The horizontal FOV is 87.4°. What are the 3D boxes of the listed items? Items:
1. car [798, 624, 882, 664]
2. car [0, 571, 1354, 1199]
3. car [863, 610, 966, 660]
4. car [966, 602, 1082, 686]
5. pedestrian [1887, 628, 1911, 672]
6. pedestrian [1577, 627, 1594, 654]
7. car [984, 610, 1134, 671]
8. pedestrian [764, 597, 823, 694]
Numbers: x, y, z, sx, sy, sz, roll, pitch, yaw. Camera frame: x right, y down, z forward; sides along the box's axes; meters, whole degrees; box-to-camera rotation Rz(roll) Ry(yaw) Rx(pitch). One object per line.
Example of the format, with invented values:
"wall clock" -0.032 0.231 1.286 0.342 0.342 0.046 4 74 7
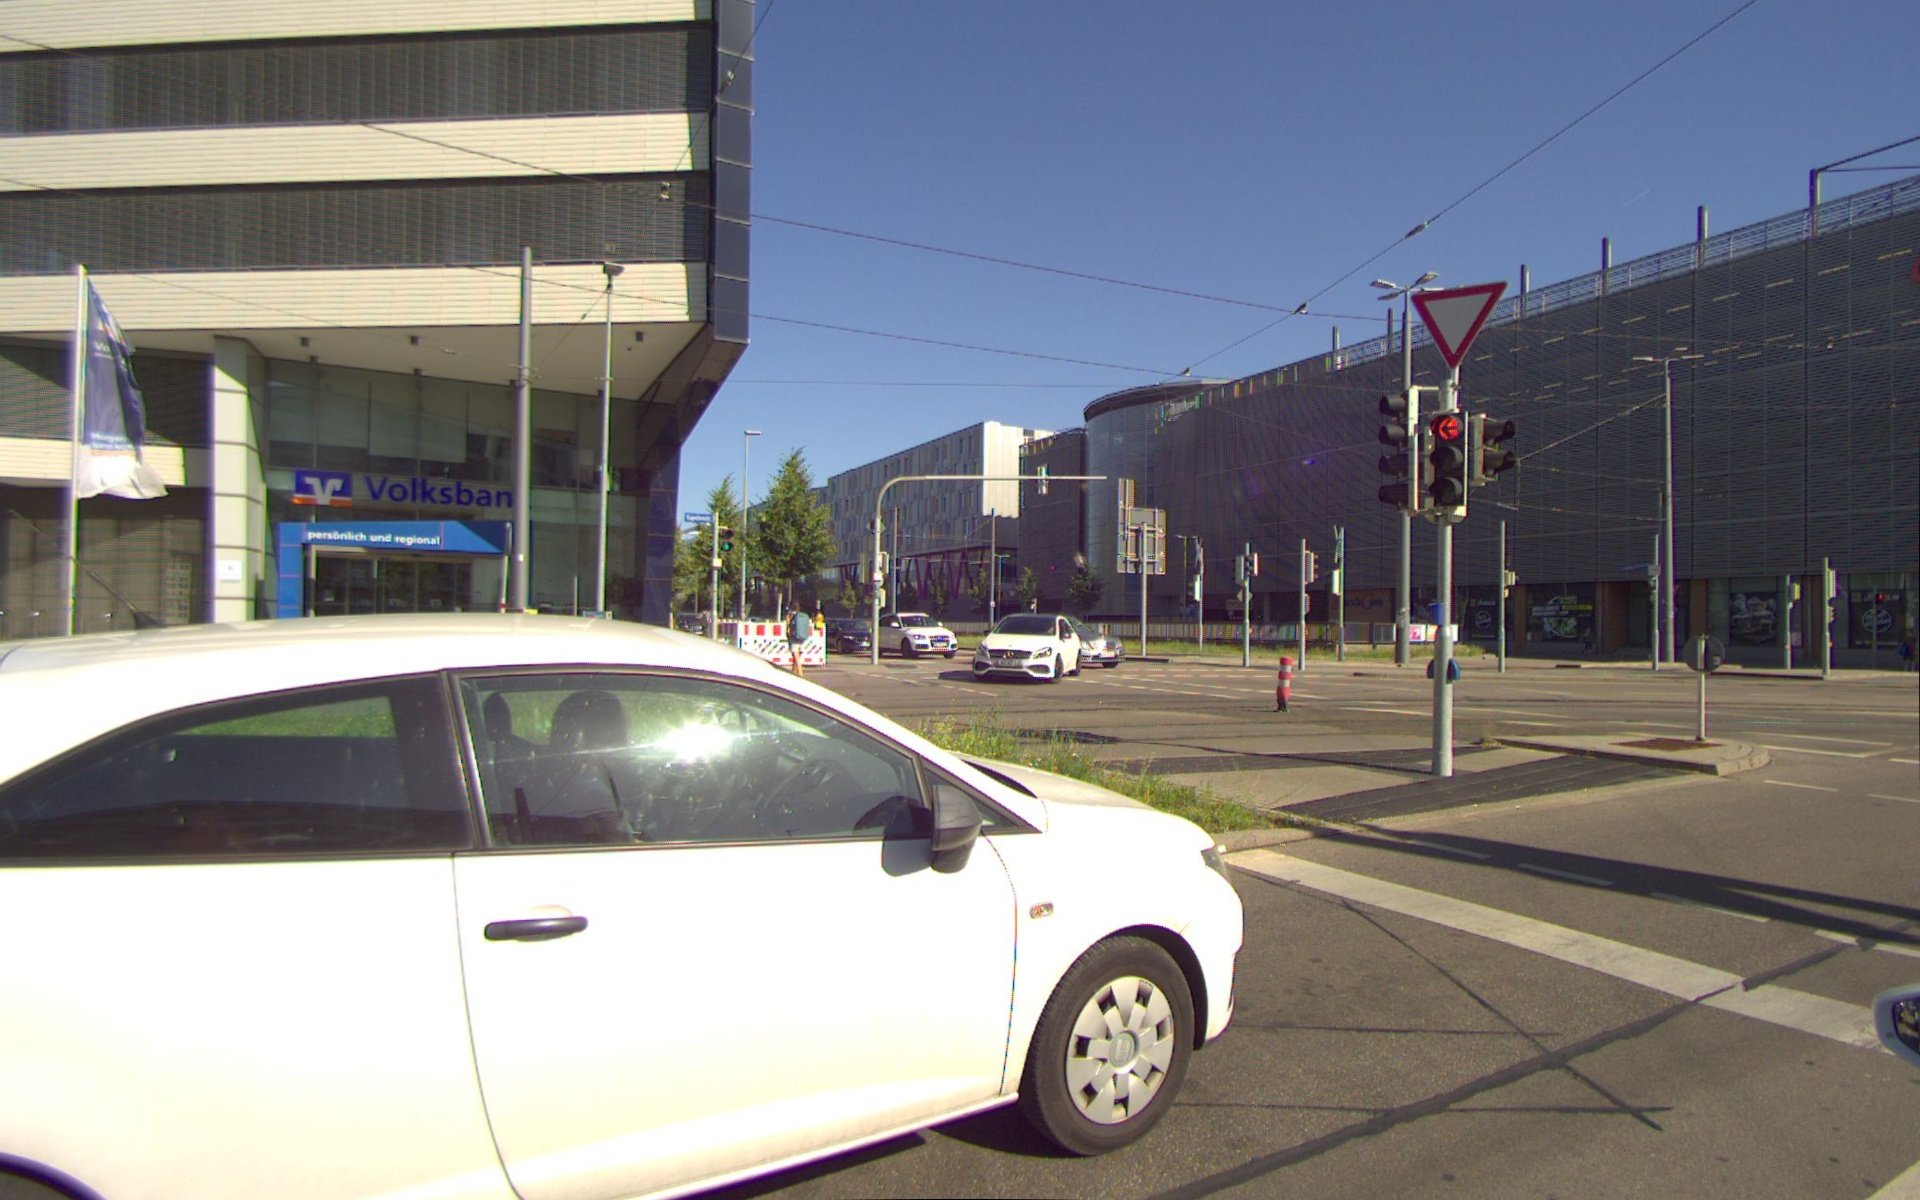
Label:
"car" -5.195 1.832 42.959 1.812 1.481 4.645 1 0 -31
"car" -0.960 0.734 2.790 3.977 1.460 1.723 2 1 -31
"car" -1.745 1.257 36.767 1.914 1.729 4.647 1 -2 -29
"car" 1.533 0.928 22.509 1.789 1.668 4.184 0 -1 15
"pedestrian" 39.964 2.120 42.731 0.687 1.821 0.726 -2 -3 44
"pedestrian" 38.423 2.458 61.708 0.584 1.622 0.661 2 0 -11
"car" 2.706 1.107 28.711 1.688 1.593 4.829 1 -1 -32
"pedestrian" -3.037 0.811 18.335 0.734 1.719 0.798 1 1 -40
